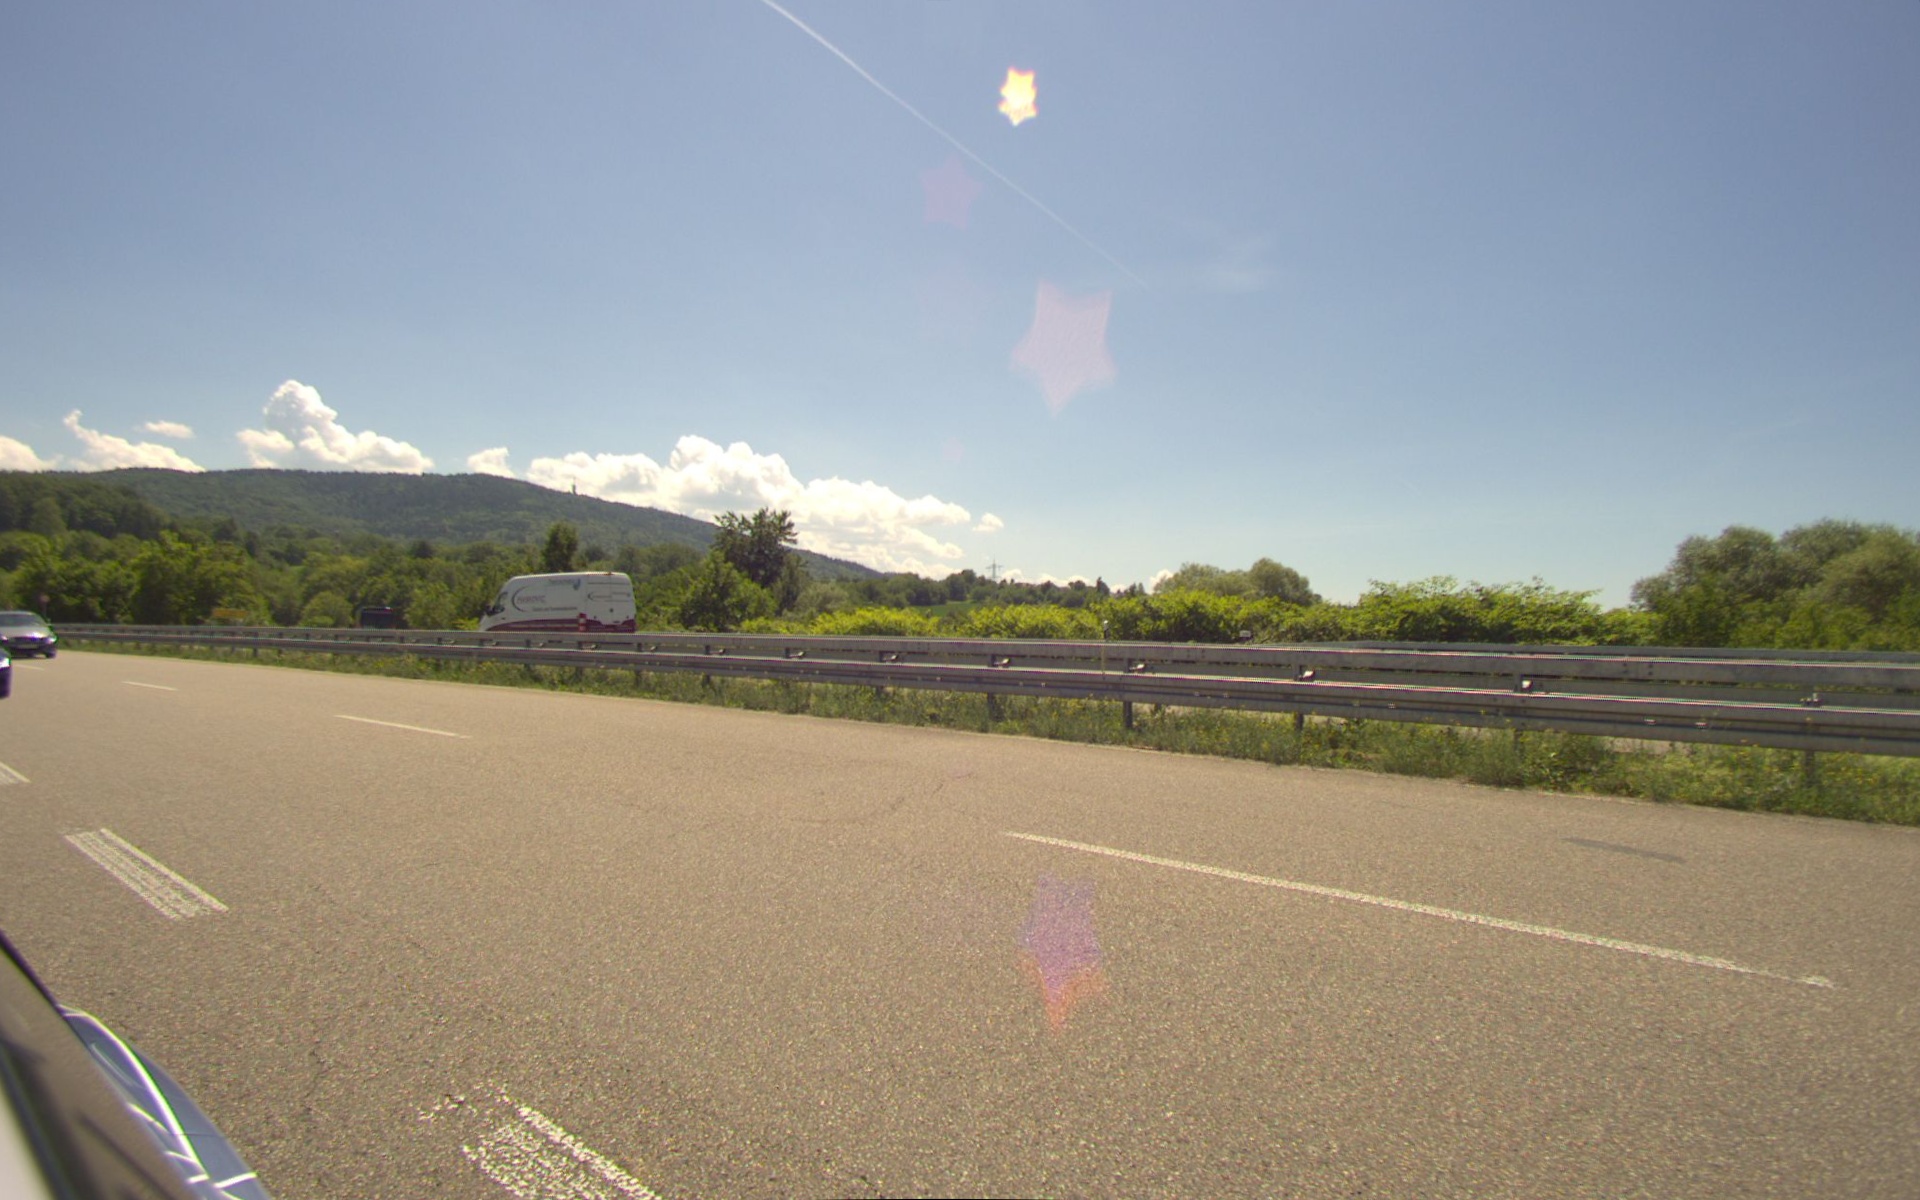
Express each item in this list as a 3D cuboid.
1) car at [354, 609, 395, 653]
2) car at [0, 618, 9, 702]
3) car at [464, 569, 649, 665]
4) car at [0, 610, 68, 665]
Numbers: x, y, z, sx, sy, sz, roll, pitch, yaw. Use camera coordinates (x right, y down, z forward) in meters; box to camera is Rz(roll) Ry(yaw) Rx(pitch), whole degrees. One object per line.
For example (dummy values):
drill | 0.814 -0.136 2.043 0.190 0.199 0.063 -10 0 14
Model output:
car | -38.348 1.990 66.409 2.173 2.657 5.643 2 -1 -29
car | -18.520 1.048 18.059 4.467 1.418 1.822 -1 -1 41
car | -13.173 0.486 32.741 7.213 2.794 2.257 1 -1 39
car | -31.771 1.229 34.175 4.550 1.680 1.775 -1 0 40
